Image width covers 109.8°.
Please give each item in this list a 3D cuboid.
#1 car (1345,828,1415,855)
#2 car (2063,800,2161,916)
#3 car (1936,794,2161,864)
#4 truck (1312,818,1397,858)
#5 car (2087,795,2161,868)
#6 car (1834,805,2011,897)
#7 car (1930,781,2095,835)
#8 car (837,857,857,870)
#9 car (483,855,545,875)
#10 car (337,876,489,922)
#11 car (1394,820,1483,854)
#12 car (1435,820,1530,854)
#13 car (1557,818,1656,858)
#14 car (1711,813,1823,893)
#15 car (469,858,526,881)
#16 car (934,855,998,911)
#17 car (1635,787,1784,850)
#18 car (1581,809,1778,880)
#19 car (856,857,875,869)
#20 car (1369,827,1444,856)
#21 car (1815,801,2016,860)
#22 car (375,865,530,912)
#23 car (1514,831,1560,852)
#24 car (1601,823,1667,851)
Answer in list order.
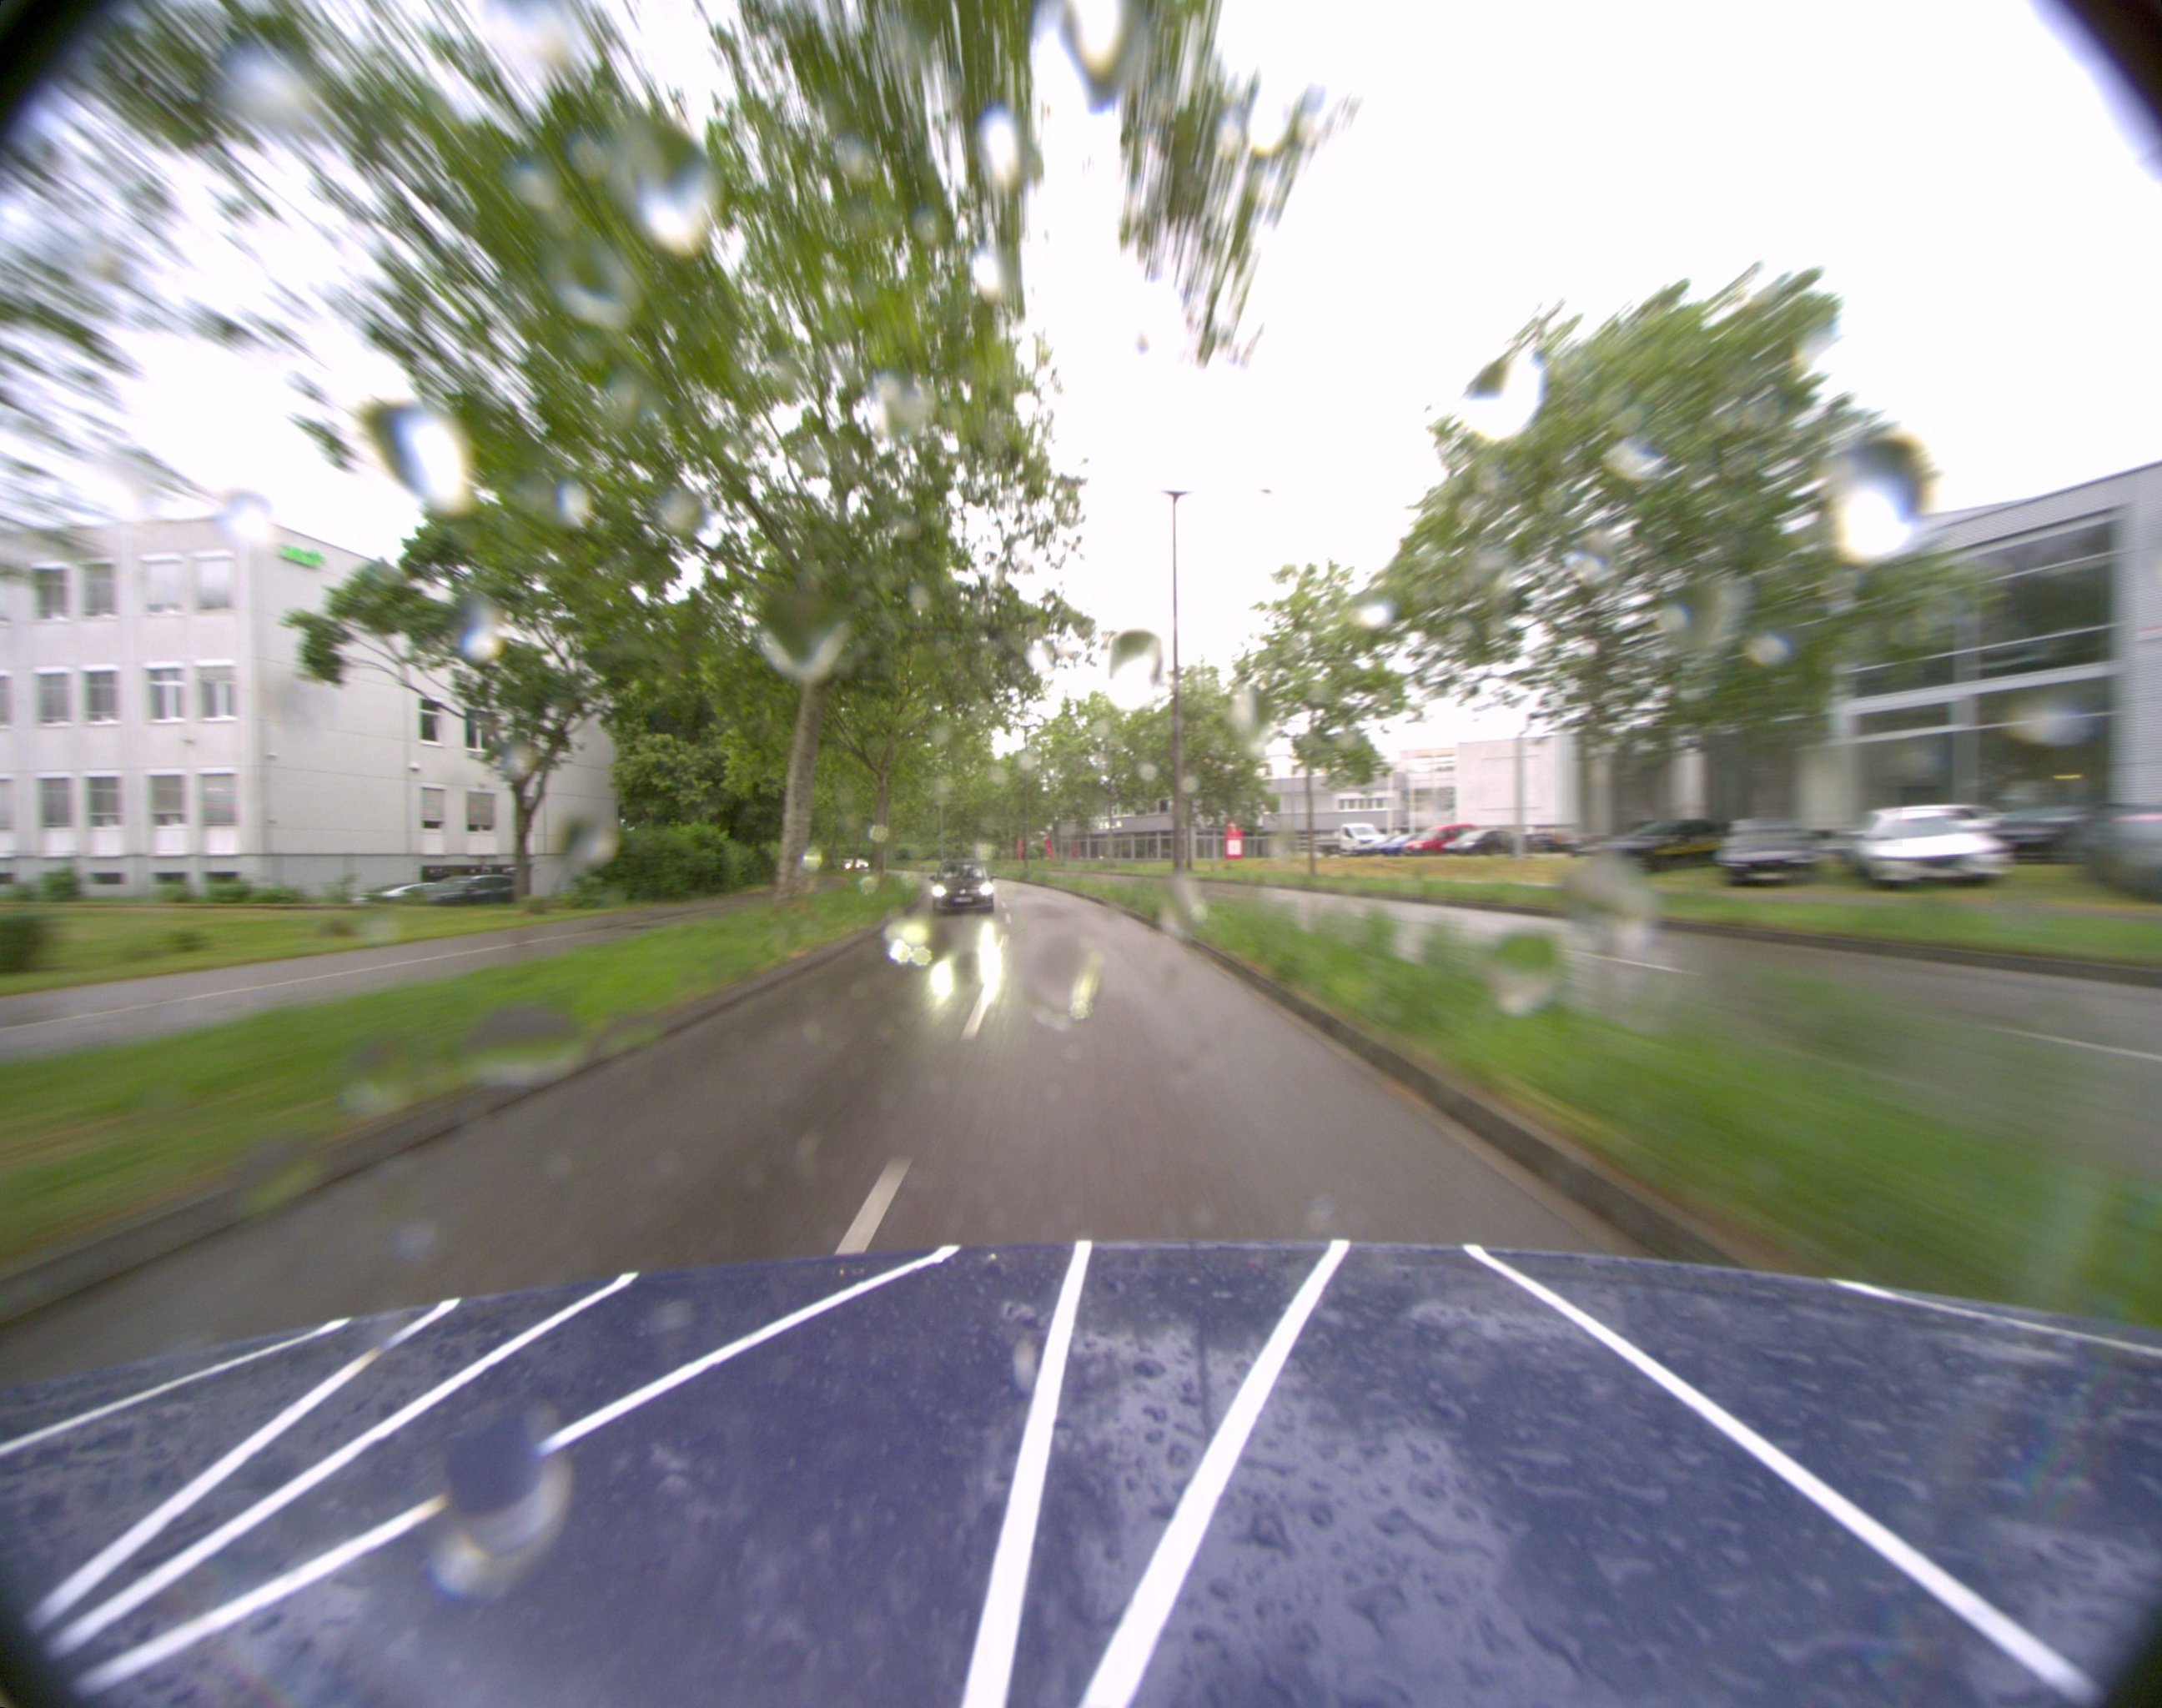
[{"bbox_3d":[18.122,-0.760,46.133,3.535,1.319,1.766,-4,0,-13],"label":"car"},{"bbox_3d":[18.768,-0.060,12.810,1.843,1.414,4.135,-8,1,41],"label":"car"},{"bbox_3d":[23.405,-0.572,17.657,4.428,1.465,1.921,-2,1,12],"label":"car"},{"bbox_3d":[18.097,-0.990,50.666,2.254,2.331,6.188,-4,0,-12],"label":"truck"},{"bbox_3d":[23.803,-0.519,15.093,4.428,1.465,1.921,-2,1,12],"label":"car"},{"bbox_3d":[18.739,-0.127,17.144,1.843,1.471,4.135,-8,1,38],"label":"car"},{"bbox_3d":[28.015,-1.366,22.850,4.440,1.465,1.916,-2,1,-22],"label":"car"},{"bbox_3d":[-29.531,1.217,95.909,1.787,1.546,3.992,-1,0,-25],"label":"car"},{"bbox_3d":[-43.275,0.813,58.092,1.596,1.350,3.709,-1,1,8],"label":"car"},{"bbox_3d":[-25.560,1.664,29.286,1.781,1.467,4.116,-2,0,12],"label":"car"},{"bbox_3d":[19.381,-0.910,41.281,4.010,1.548,1.845,-4,0,-13],"label":"car"},{"bbox_3d":[20.395,-0.861,38.629,4.010,1.349,1.845,-4,0,-13],"label":"car"},{"bbox_3d":[21.896,-0.690,31.626,4.014,1.349,1.843,-4,0,-31],"label":"car"},{"bbox_3d":[18.148,-0.073,20.032,4.135,1.471,1.843,-10,1,-44],"label":"car"},{"bbox_3d":[-37.411,0.987,48.819,1.599,1.350,3.701,-2,1,-15],"label":"car"},{"bbox_3d":[-3.527,0.831,23.644,1.785,1.546,3.997,-1,0,-7],"label":"car"},{"bbox_3d":[30.997,-1.694,37.740,5.325,2.736,2.174,-2,1,28],"label":"car"},{"bbox_3d":[18.755,-0.307,24.091,4.428,1.548,1.849,-8,1,21],"label":"car"},{"bbox_3d":[-29.429,1.231,103.811,1.787,1.546,3.992,-1,0,-25],"label":"car"},{"bbox_3d":[18.698,-0.711,43.709,3.535,1.319,1.766,-4,0,-13],"label":"car"},{"bbox_3d":[22.831,-0.638,20.826,4.438,1.465,1.917,-2,1,-16],"label":"car"},{"bbox_3d":[-22.875,1.203,27.875,1.781,1.467,4.116,-2,0,12],"label":"car"},{"bbox_3d":[33.590,-0.890,56.060,1.765,1.388,4.161,-3,-1,15],"label":"car"},{"bbox_3d":[38.605,-1.155,53.188,1.766,1.718,4.159,-3,-1,5],"label":"car"}]
